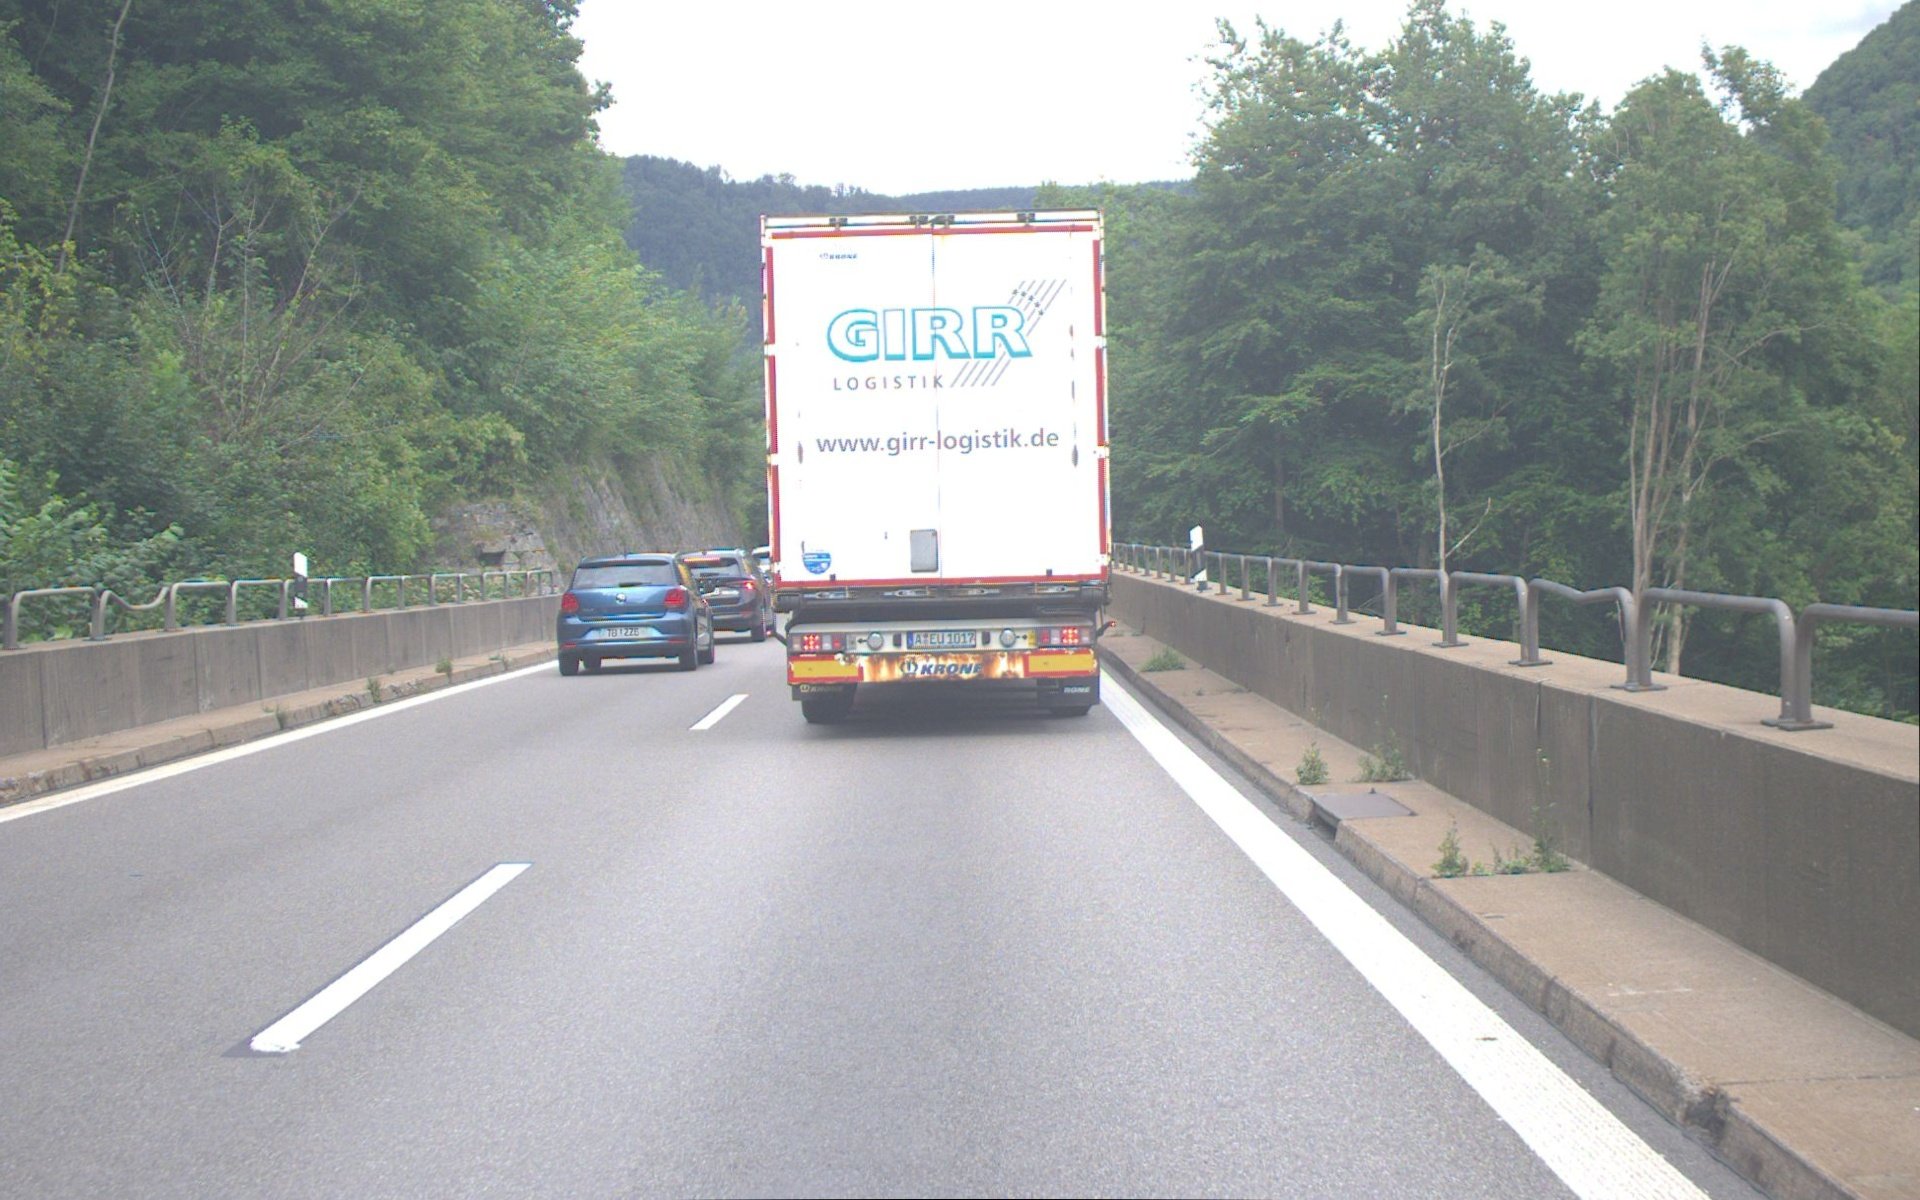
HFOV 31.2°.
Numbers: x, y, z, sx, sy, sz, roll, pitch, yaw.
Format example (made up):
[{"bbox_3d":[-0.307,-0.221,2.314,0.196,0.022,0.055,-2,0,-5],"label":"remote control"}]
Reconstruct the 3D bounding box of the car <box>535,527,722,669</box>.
[{"bbox_3d":[-4.047,-0.069,42.590,1.993,1.590,4.354,0,2,-1],"label":"car"}]

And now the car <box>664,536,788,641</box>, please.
[{"bbox_3d":[-3.657,-0.210,54.287,1.745,1.581,4.000,0,1,-1],"label":"car"}]

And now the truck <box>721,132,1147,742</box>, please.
[{"bbox_3d":[-0.214,-1.364,32.840,3.084,4.448,15.156,-1,1,0],"label":"truck"}]

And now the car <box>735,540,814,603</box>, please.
[{"bbox_3d":[-4.437,-0.661,82.672,1.745,1.481,4.000,0,0,-1],"label":"car"}]
